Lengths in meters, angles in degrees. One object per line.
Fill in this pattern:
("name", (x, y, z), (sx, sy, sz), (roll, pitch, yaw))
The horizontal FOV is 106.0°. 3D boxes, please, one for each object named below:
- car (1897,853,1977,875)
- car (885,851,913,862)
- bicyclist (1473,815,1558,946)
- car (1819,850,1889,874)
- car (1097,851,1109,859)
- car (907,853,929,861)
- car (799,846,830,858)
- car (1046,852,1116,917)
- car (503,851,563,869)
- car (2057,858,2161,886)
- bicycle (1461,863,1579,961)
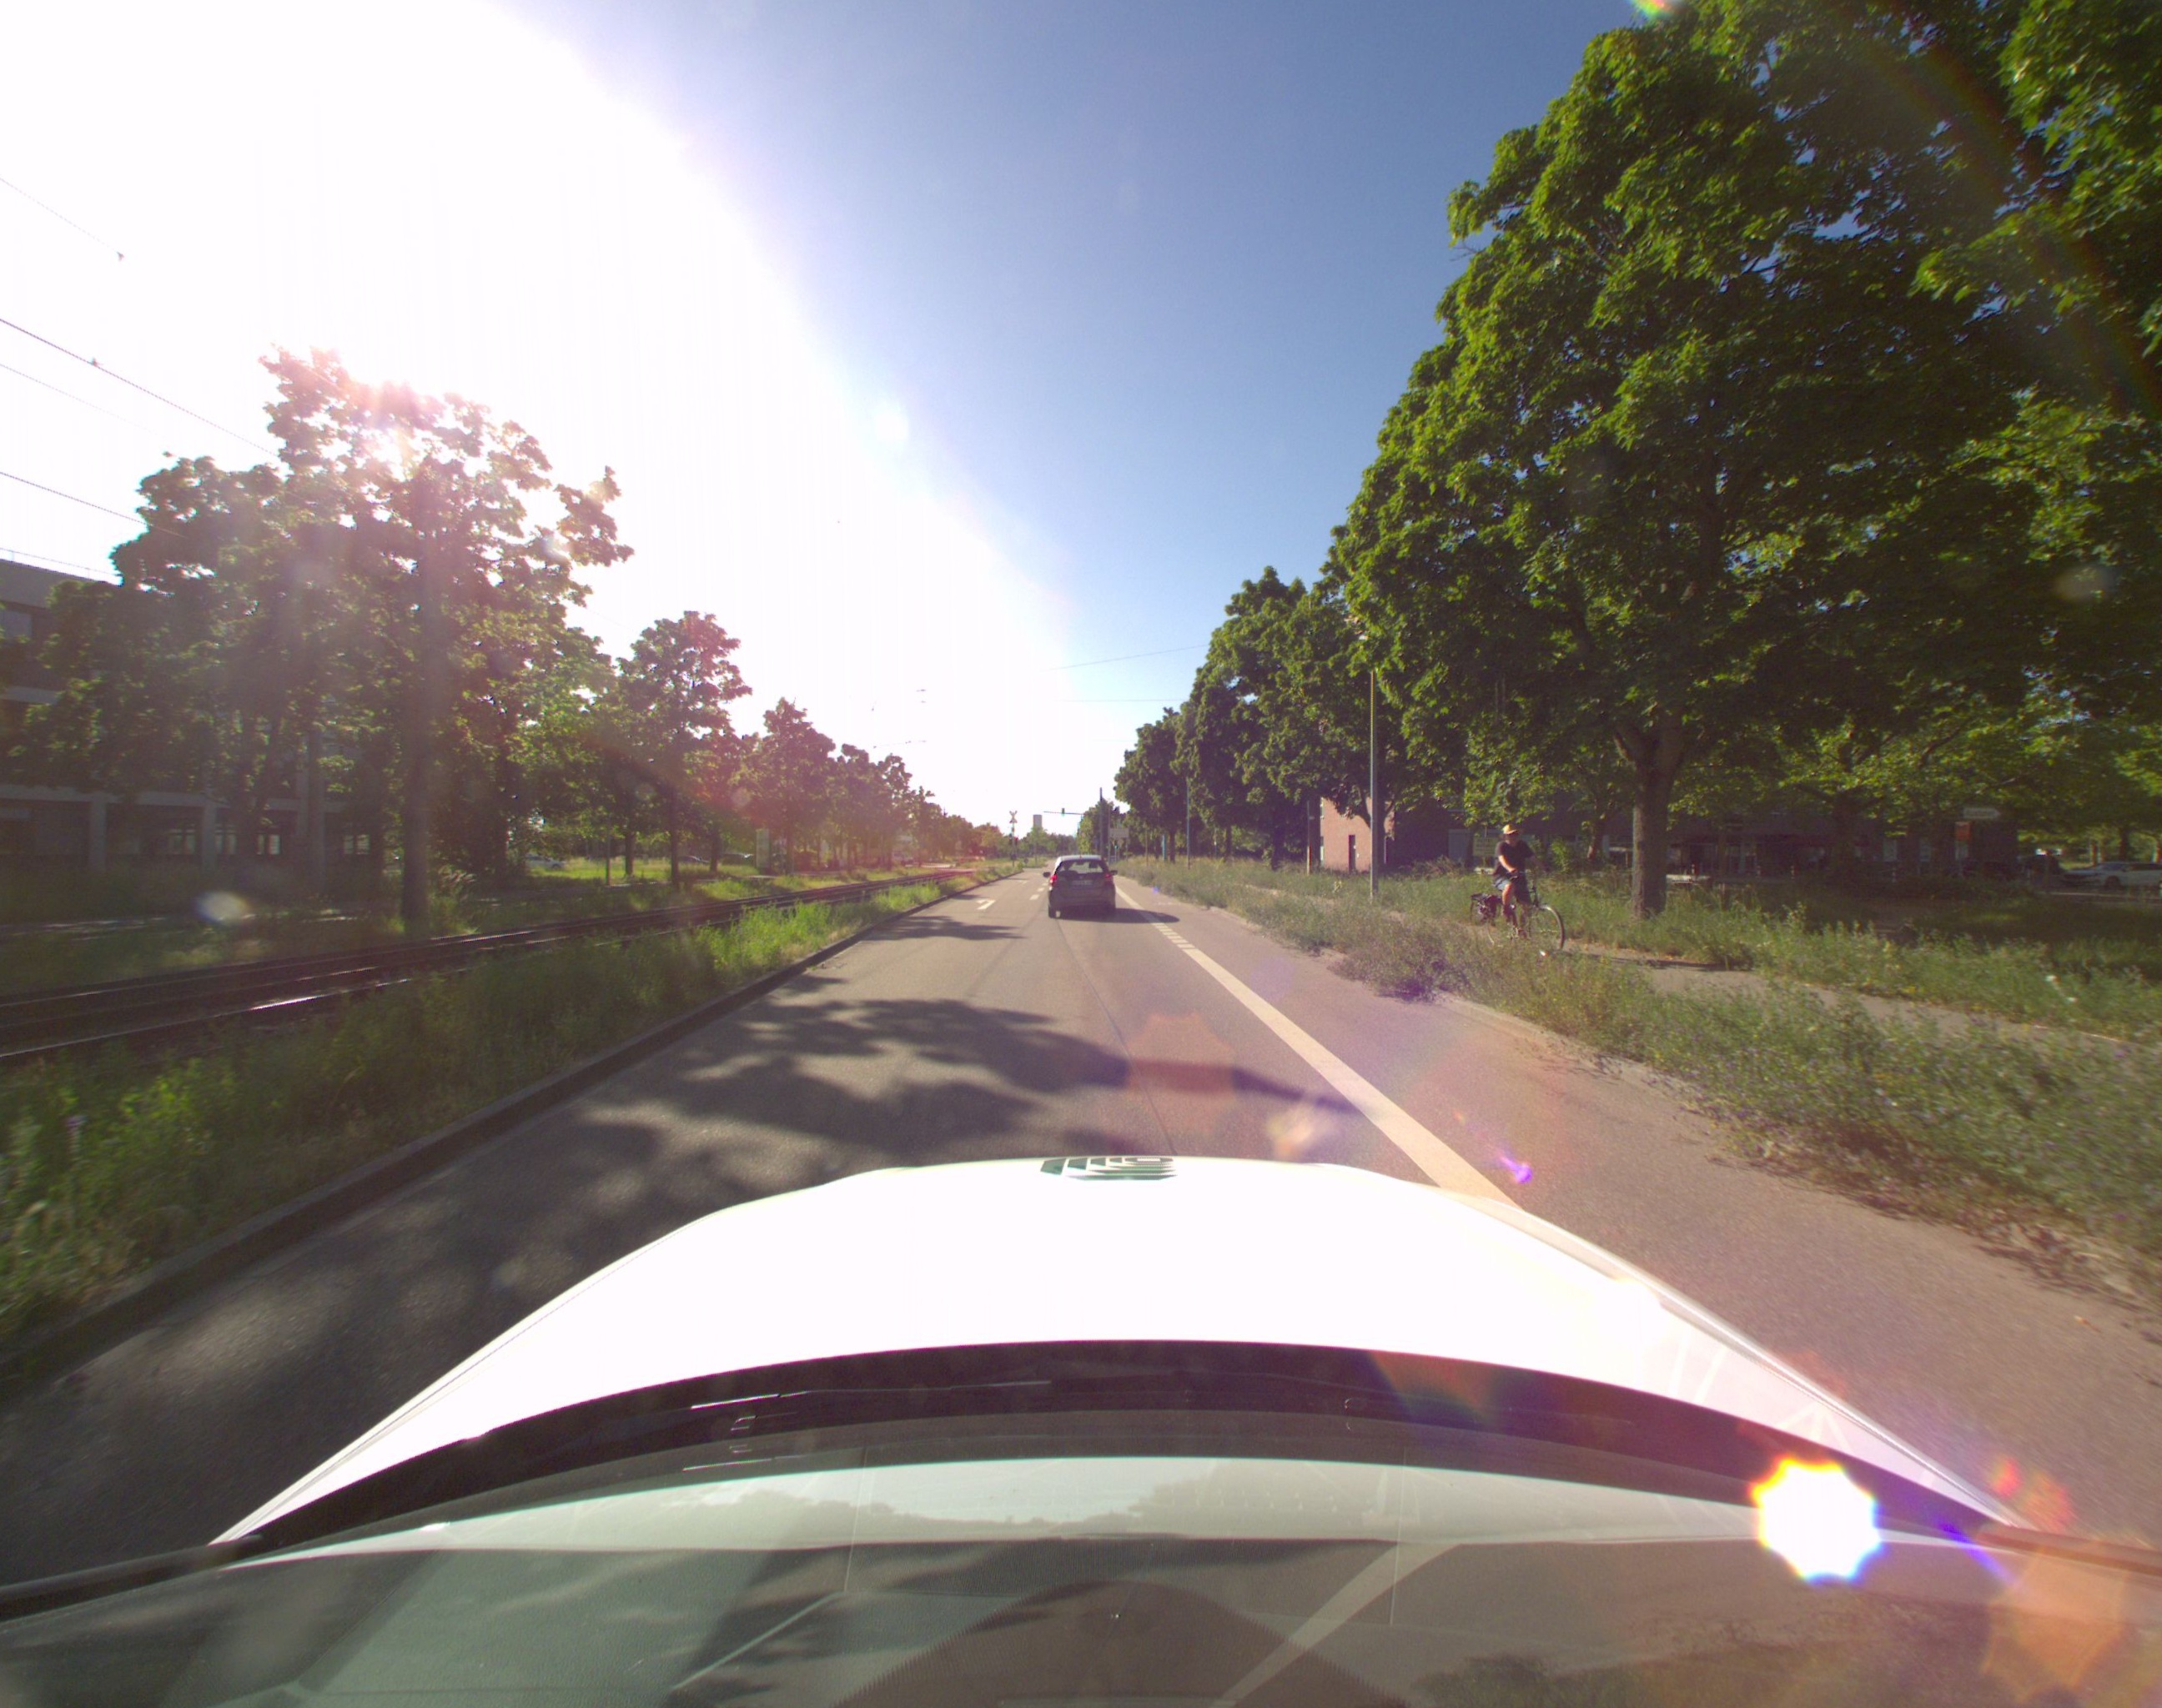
("car", (61.323, 0.710, 58.390), (3.979, 1.491, 1.870), (0, 0, -4))
("car", (-32.960, 0.478, 147.503), (1.837, 1.974, 4.817), (0, 0, 39))
("bicyclist", (5.919, 0.351, 11.131), (0.680, 1.720, 0.903), (0, -1, 1))
("car", (60.024, 0.583, 63.269), (3.984, 1.828, 1.868), (0, 0, -8))
("car", (4.280, 0.195, 158.301), (1.771, 1.386, 3.863), (-1, 0, -5))
("car", (-32.905, 0.529, 164.228), (4.063, 1.568, 1.789), (-1, 0, -5))
("car", (-46.465, -0.371, 142.218), (4.711, 2.091, 2.018), (-1, 0, -4))
("car", (-0.021, 0.728, 21.080), (1.619, 1.499, 3.455), (-1, 0, -1))
("car", (-51.391, 0.512, 76.500), (4.438, 1.640, 1.974), (0, 0, -25))
("car", (54.468, 0.934, 42.752), (4.499, 1.399, 1.830), (1, 0, -3))
("bicycle", (5.915, 0.748, 11.121), (0.481, 1.204, 2.144), (0, -2, 2))
